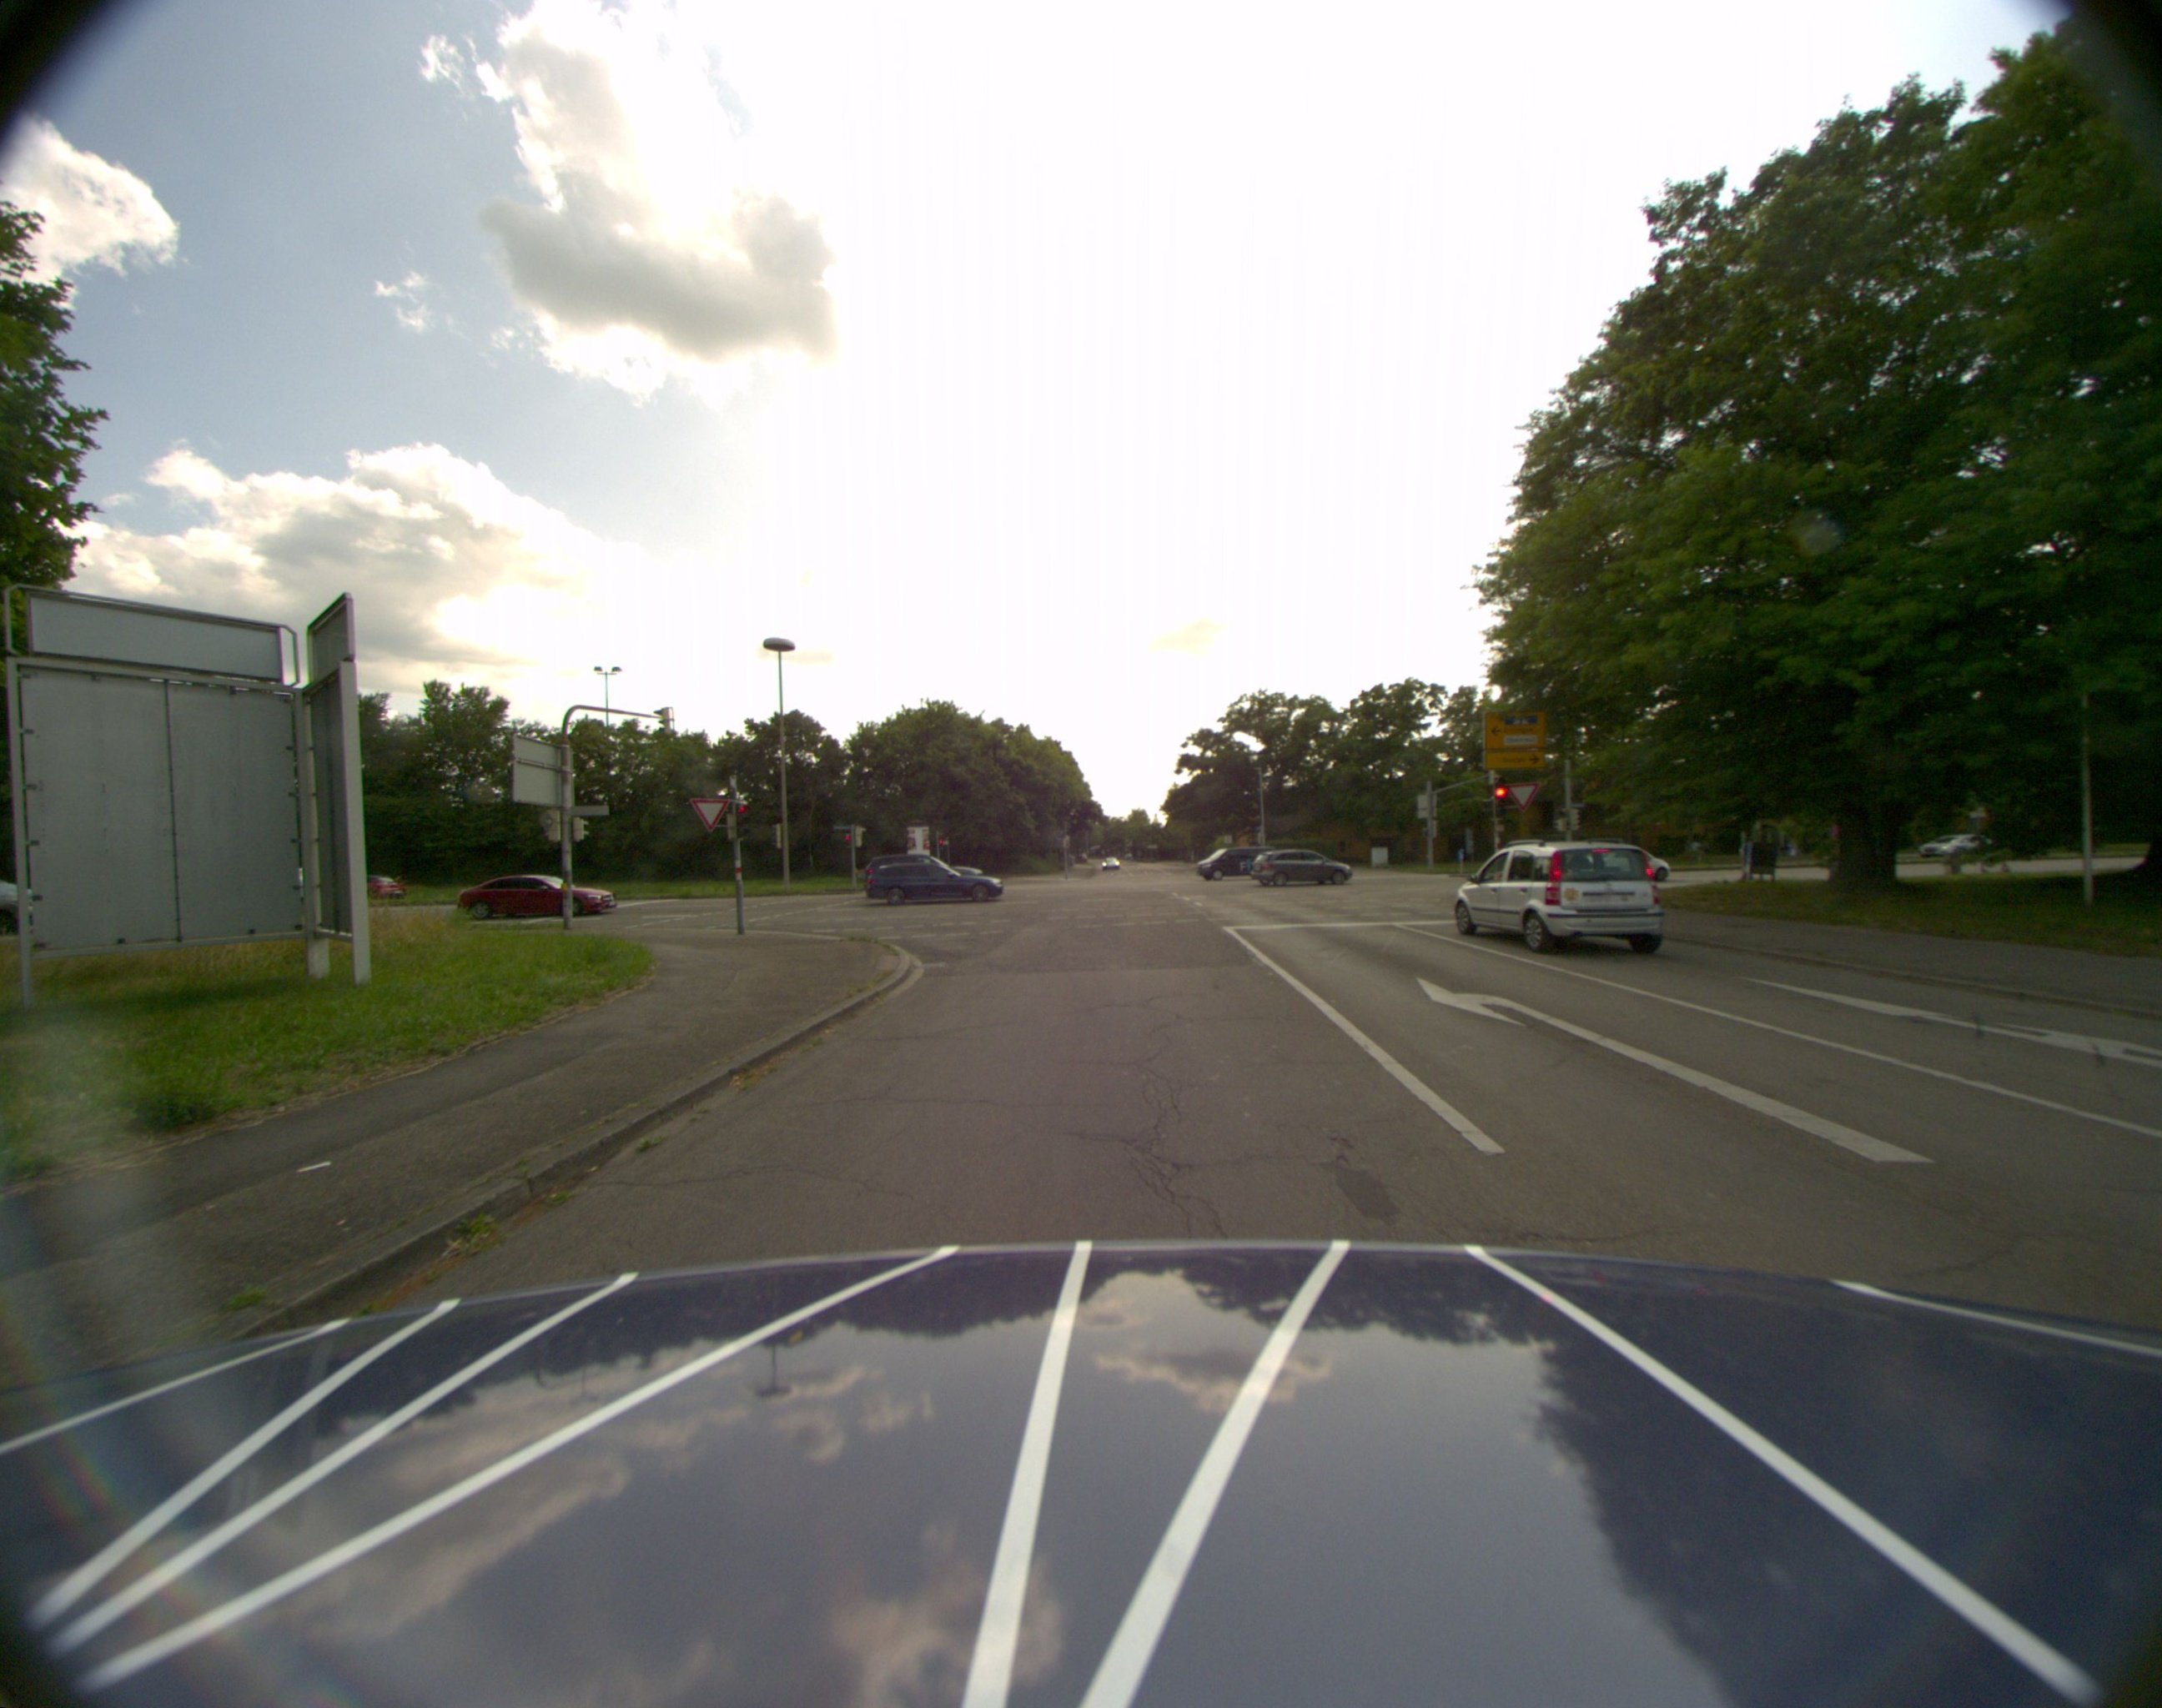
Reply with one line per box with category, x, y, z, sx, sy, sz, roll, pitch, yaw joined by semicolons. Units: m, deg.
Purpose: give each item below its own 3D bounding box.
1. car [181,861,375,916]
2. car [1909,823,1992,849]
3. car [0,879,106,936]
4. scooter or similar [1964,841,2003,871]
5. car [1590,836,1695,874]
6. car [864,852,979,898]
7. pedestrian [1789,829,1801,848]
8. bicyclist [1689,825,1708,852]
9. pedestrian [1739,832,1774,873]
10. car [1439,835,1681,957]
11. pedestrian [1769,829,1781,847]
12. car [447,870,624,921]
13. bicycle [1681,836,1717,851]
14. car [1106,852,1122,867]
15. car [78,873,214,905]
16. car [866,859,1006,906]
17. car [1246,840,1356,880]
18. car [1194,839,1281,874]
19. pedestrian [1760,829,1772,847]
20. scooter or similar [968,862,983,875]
car;-29.271;1.223;27.858;4.731;1.788;1.769;-1;2;-9
car;62.783;-1.288;54.888;4.456;1.695;1.864;-2;0;-10
car;-33.422;1.651;23.337;4.175;1.603;1.727;-1;2;-9
scooter or similar;30.428;0.074;25.617;1.272;0.974;0.221;-2;1;-9
car;24.141;0.030;32.717;3.540;1.488;1.574;-2;1;-7
car;-6.582;0.840;31.823;4.549;1.736;1.817;-1;2;-9
pedestrian;58.408;-1.270;62.155;0.421;1.487;0.570;-2;3;-24
bicyclist;46.799;-1.203;57.597;0.754;2.002;0.831;-2;1;-12
pedestrian;25.914;-0.058;29.147;0.760;1.523;0.726;-2;1;-25
car;6.923;0.517;11.437;1.557;1.508;3.609;-2;1;4
pedestrian;58.601;-1.369;64.168;0.421;1.487;0.570;-2;3;-24
car;-18.367;1.375;25.782;4.535;1.454;1.726;-1;3;-9
bicycle;46.816;-0.798;57.577;0.757;1.112;2.112;-2;0;-12
car;3.613;0.623;82.972;1.729;1.421;3.999;-1;2;2
car;-45.680;1.700;37.213;4.082;1.364;1.598;-2;0;-11
car;-5.274;1.013;27.952;4.873;1.489;1.800;-1;2;-9
car;9.717;0.251;33.717;4.360;1.610;1.702;-2;2;-9
car;9.416;0.144;45.837;4.816;1.846;1.770;-2;1;-9
pedestrian;58.326;-1.367;64.693;0.421;1.487;0.570;-2;3;-24
scooter or similar;-7.831;1.099;56.286;1.035;0.937;0.296;-1;3;-2
